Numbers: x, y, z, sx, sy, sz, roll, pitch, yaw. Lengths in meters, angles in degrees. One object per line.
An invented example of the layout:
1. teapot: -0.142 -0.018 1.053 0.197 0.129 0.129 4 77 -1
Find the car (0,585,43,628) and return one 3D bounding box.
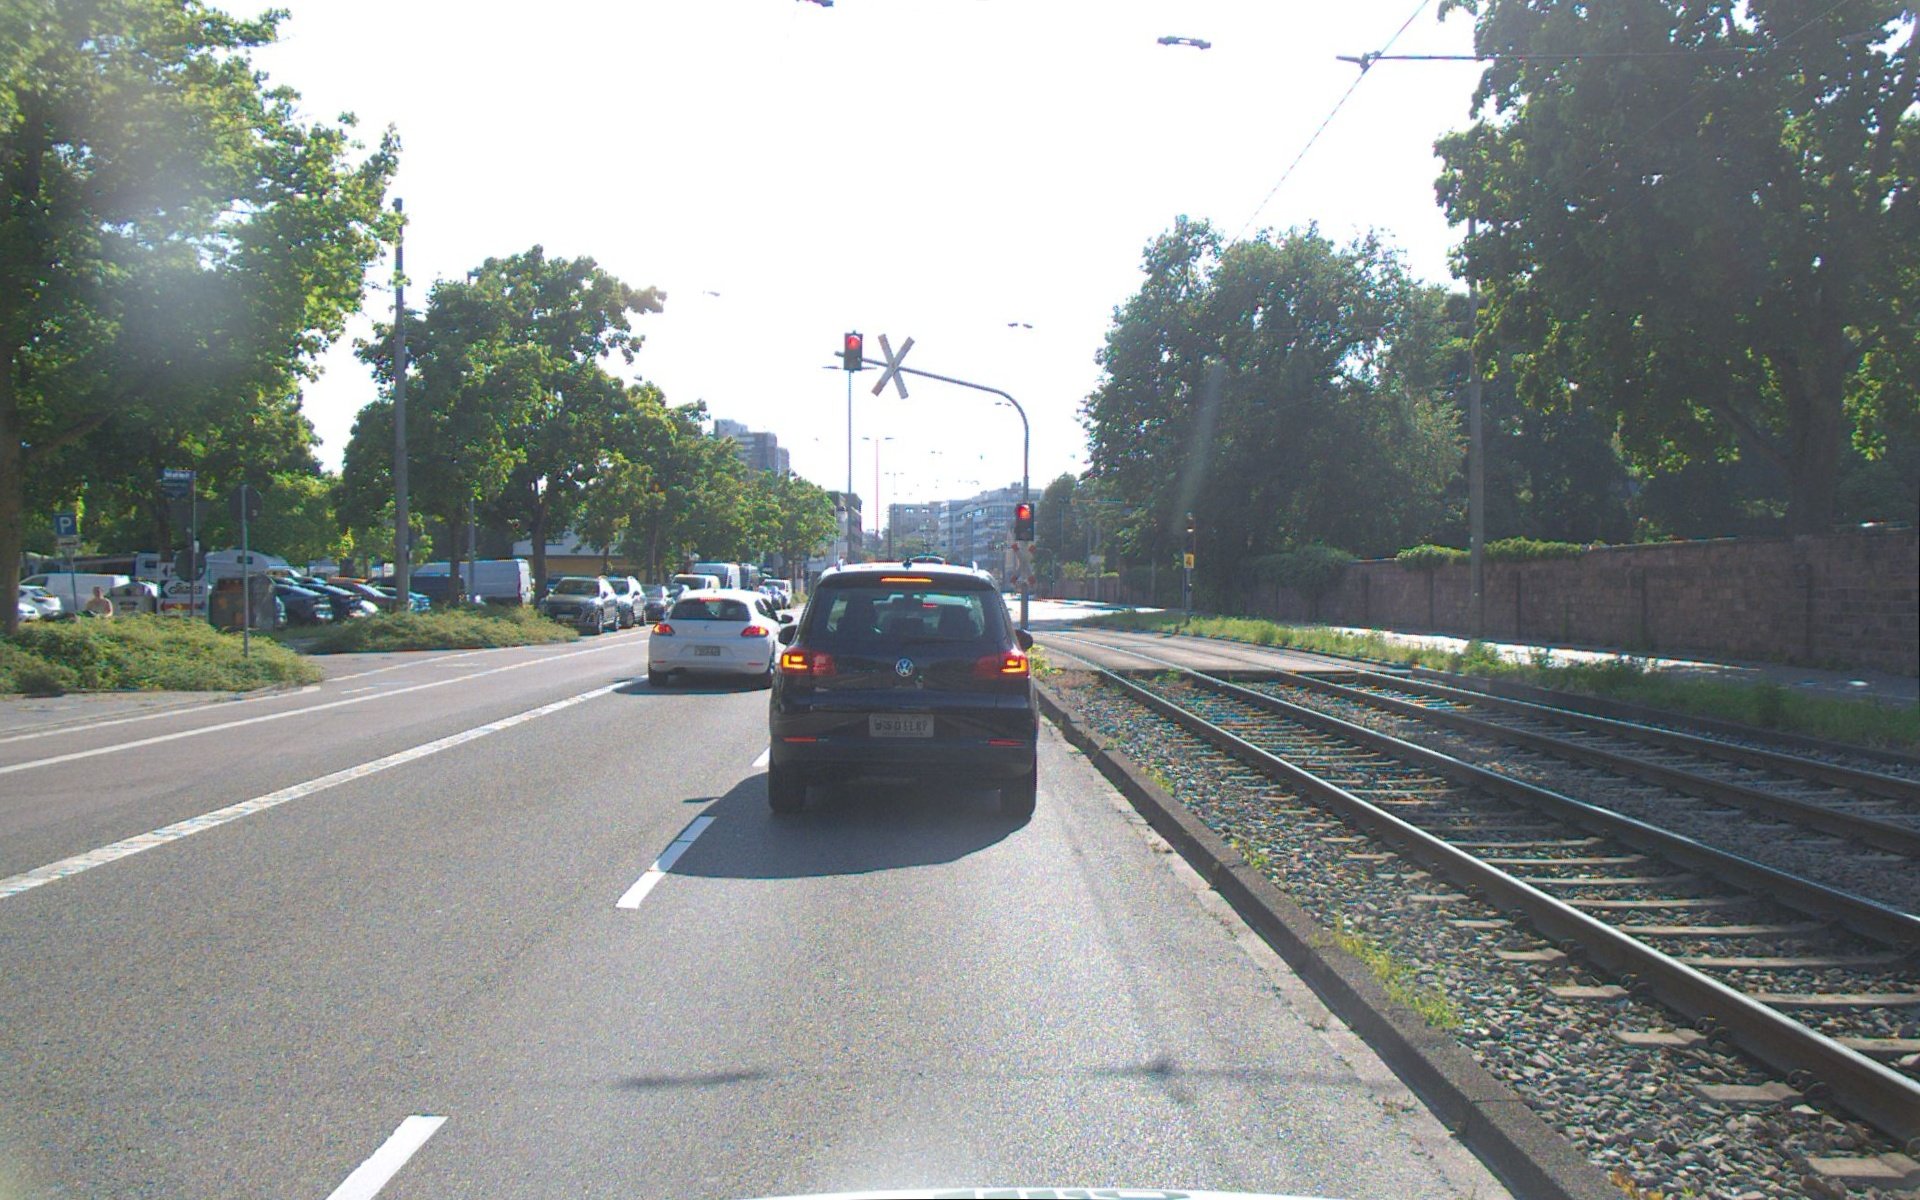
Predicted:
1. car: -34.854 0.236 58.394 3.908 1.483 1.736 0 1 -4

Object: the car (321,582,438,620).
1. car: -22.270 0.016 63.520 3.908 1.422 1.736 0 1 -4

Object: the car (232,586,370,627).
1. car: -21.943 0.196 55.185 3.908 1.330 1.736 0 1 -4

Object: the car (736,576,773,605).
1. car: -12.319 -0.598 99.450 1.696 1.724 4.001 0 1 0

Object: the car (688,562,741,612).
1. car: -11.992 -0.650 80.979 1.825 2.388 4.985 0 1 0

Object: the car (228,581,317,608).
1. car: -35.959 -0.299 86.564 3.908 1.422 1.736 0 1 -4

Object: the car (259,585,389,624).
1. car: -22.365 0.162 58.281 3.908 1.330 1.736 0 1 -4

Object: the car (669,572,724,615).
1. car: -11.814 -0.305 74.309 1.696 1.892 4.489 0 1 0

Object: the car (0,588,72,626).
1. car: -35.125 0.254 61.016 3.903 1.384 1.628 0 1 4

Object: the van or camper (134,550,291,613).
1. van or camper: -35.346 -0.880 78.347 6.332 2.918 2.307 0 0 -1

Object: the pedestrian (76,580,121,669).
1. pedestrian: -16.164 0.448 31.033 0.514 1.656 0.610 0 0 -1

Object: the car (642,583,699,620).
1. car: -12.034 0.027 68.987 1.696 1.475 3.735 0 1 0

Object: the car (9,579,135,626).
1. car: -33.977 0.080 63.372 3.912 1.758 1.624 0 1 -8

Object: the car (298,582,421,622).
1. car: -21.950 0.049 60.559 3.908 1.422 1.736 0 1 -4

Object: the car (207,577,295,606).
1. car: -34.932 -0.434 81.525 3.591 1.422 1.736 0 1 -4

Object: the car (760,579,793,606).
1. car: -12.275 -0.540 110.664 1.696 1.724 4.001 0 1 0

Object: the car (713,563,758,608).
1. car: -11.903 -0.761 87.809 1.696 2.308 4.645 0 1 0

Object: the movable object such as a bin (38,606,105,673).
1. movable object such as a bin: -16.158 0.706 30.100 0.531 1.166 1.261 0 1 -1

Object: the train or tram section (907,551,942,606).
1. train or tram section: -2.424 -1.489 113.801 2.279 3.632 8.899 0 1 -1

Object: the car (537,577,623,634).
1. car: -11.731 0.141 51.315 1.696 1.686 4.000 0 1 0

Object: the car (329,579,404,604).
1. car: -35.358 -0.516 98.606 3.908 1.422 1.736 0 1 -4

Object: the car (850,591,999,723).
1. car: -0.420 0.615 20.172 1.635 1.411 3.999 0 1 -1

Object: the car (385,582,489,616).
1. car: -22.233 -0.055 70.441 3.908 1.422 1.736 0 1 -4

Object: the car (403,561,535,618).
1. car: -21.882 -0.475 73.908 5.266 2.466 2.087 0 0 -1

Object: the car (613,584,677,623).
1. car: -11.996 0.109 63.104 1.696 1.413 3.735 0 1 0

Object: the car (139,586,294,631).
1. car: -22.447 0.251 50.046 3.908 1.330 1.736 0 1 -4

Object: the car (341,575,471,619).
1. car: -22.030 -0.133 65.913 4.526 1.680 2.048 0 1 -3

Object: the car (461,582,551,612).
1. car: -21.766 -0.145 79.371 3.908 1.422 1.736 0 1 -4

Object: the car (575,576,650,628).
1. car: -11.894 0.034 56.796 1.696 1.724 4.001 0 1 0

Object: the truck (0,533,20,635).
1. truck: -34.311 -0.504 53.254 6.823 3.298 1.986 0 0 -3

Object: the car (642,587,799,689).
1. car: -3.520 0.509 24.965 1.827 1.371 3.999 1 1 -1

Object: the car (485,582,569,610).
1. car: -22.179 -0.205 84.834 3.908 1.422 1.736 0 1 -4

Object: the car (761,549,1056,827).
1. car: -0.341 0.531 12.117 1.774 1.673 3.999 1 0 -1

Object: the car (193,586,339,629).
1. car: -21.966 0.224 52.467 3.908 1.330 1.736 0 1 -4
